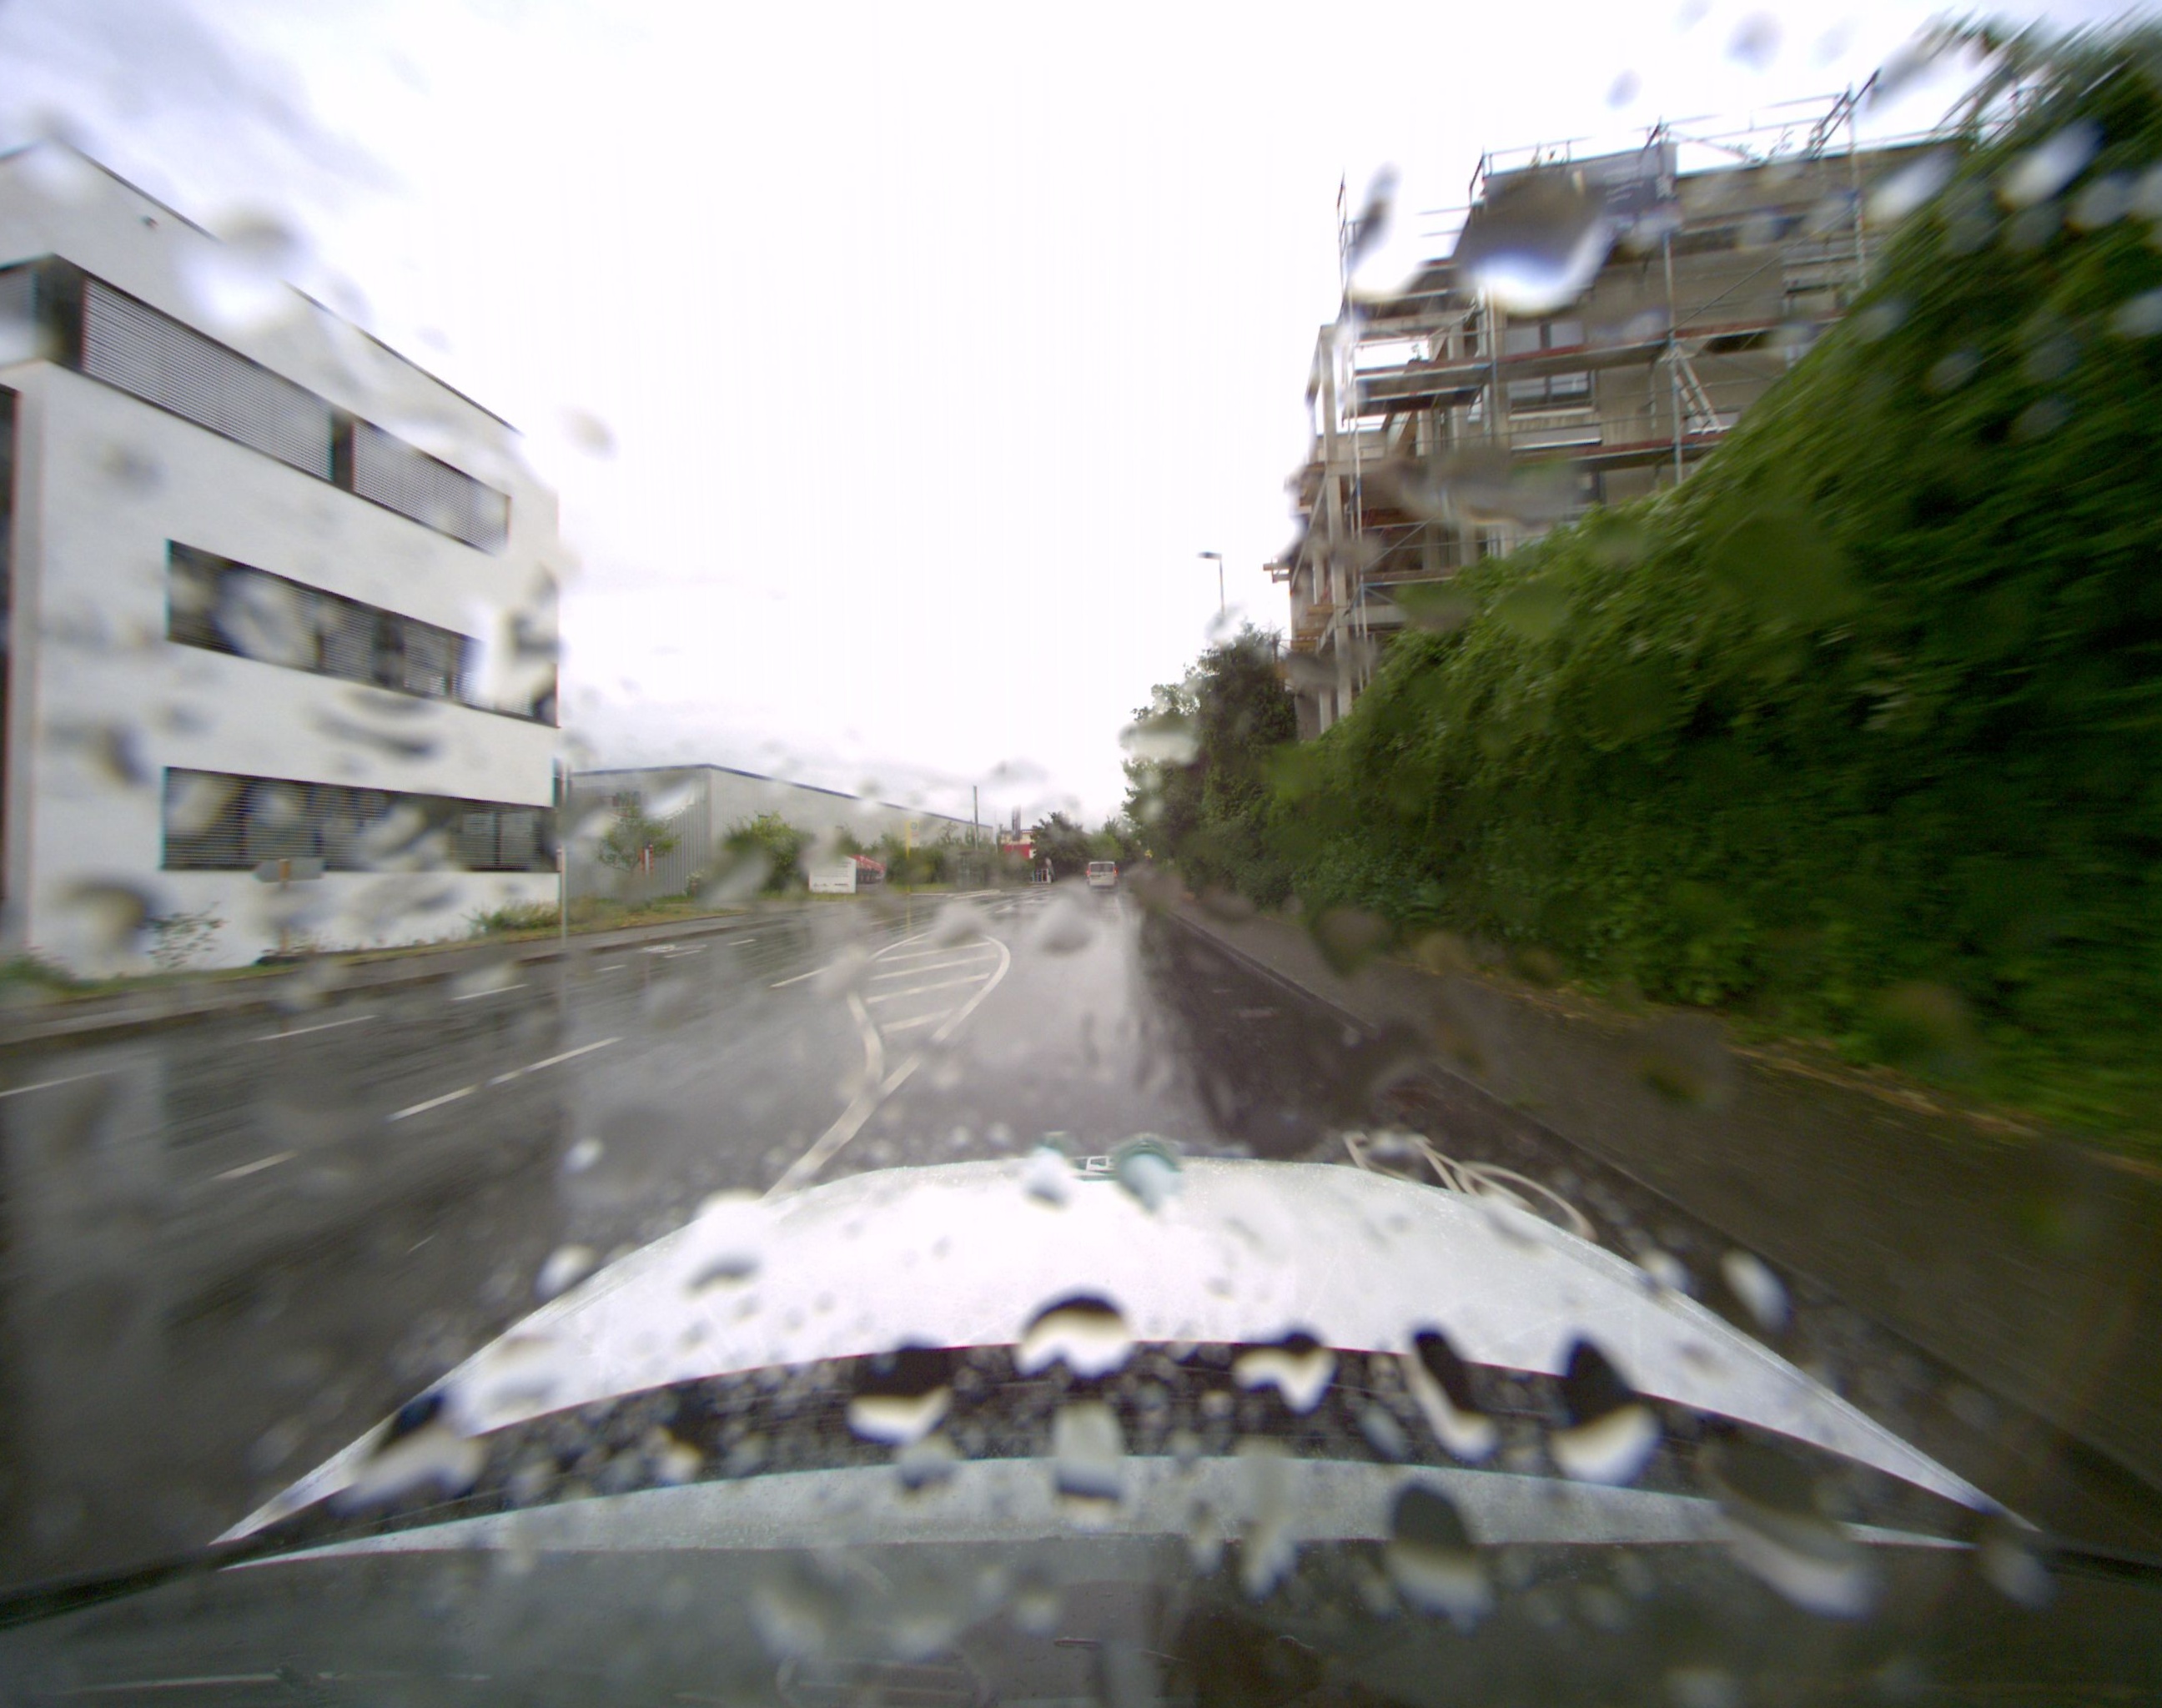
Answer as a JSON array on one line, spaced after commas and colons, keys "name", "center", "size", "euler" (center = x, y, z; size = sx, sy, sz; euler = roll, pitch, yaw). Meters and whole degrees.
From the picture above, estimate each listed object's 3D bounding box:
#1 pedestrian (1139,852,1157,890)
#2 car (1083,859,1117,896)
[{"name": "pedestrian", "center": [3.493, 0.899, 42.589], "size": [0.774, 1.907, 0.728], "euler": [-5, -2, 1]}, {"name": "car", "center": [1.240, 1.420, 50.851], "size": [1.891, 2.018, 5.375], "euler": [-4, -1, 2]}]
